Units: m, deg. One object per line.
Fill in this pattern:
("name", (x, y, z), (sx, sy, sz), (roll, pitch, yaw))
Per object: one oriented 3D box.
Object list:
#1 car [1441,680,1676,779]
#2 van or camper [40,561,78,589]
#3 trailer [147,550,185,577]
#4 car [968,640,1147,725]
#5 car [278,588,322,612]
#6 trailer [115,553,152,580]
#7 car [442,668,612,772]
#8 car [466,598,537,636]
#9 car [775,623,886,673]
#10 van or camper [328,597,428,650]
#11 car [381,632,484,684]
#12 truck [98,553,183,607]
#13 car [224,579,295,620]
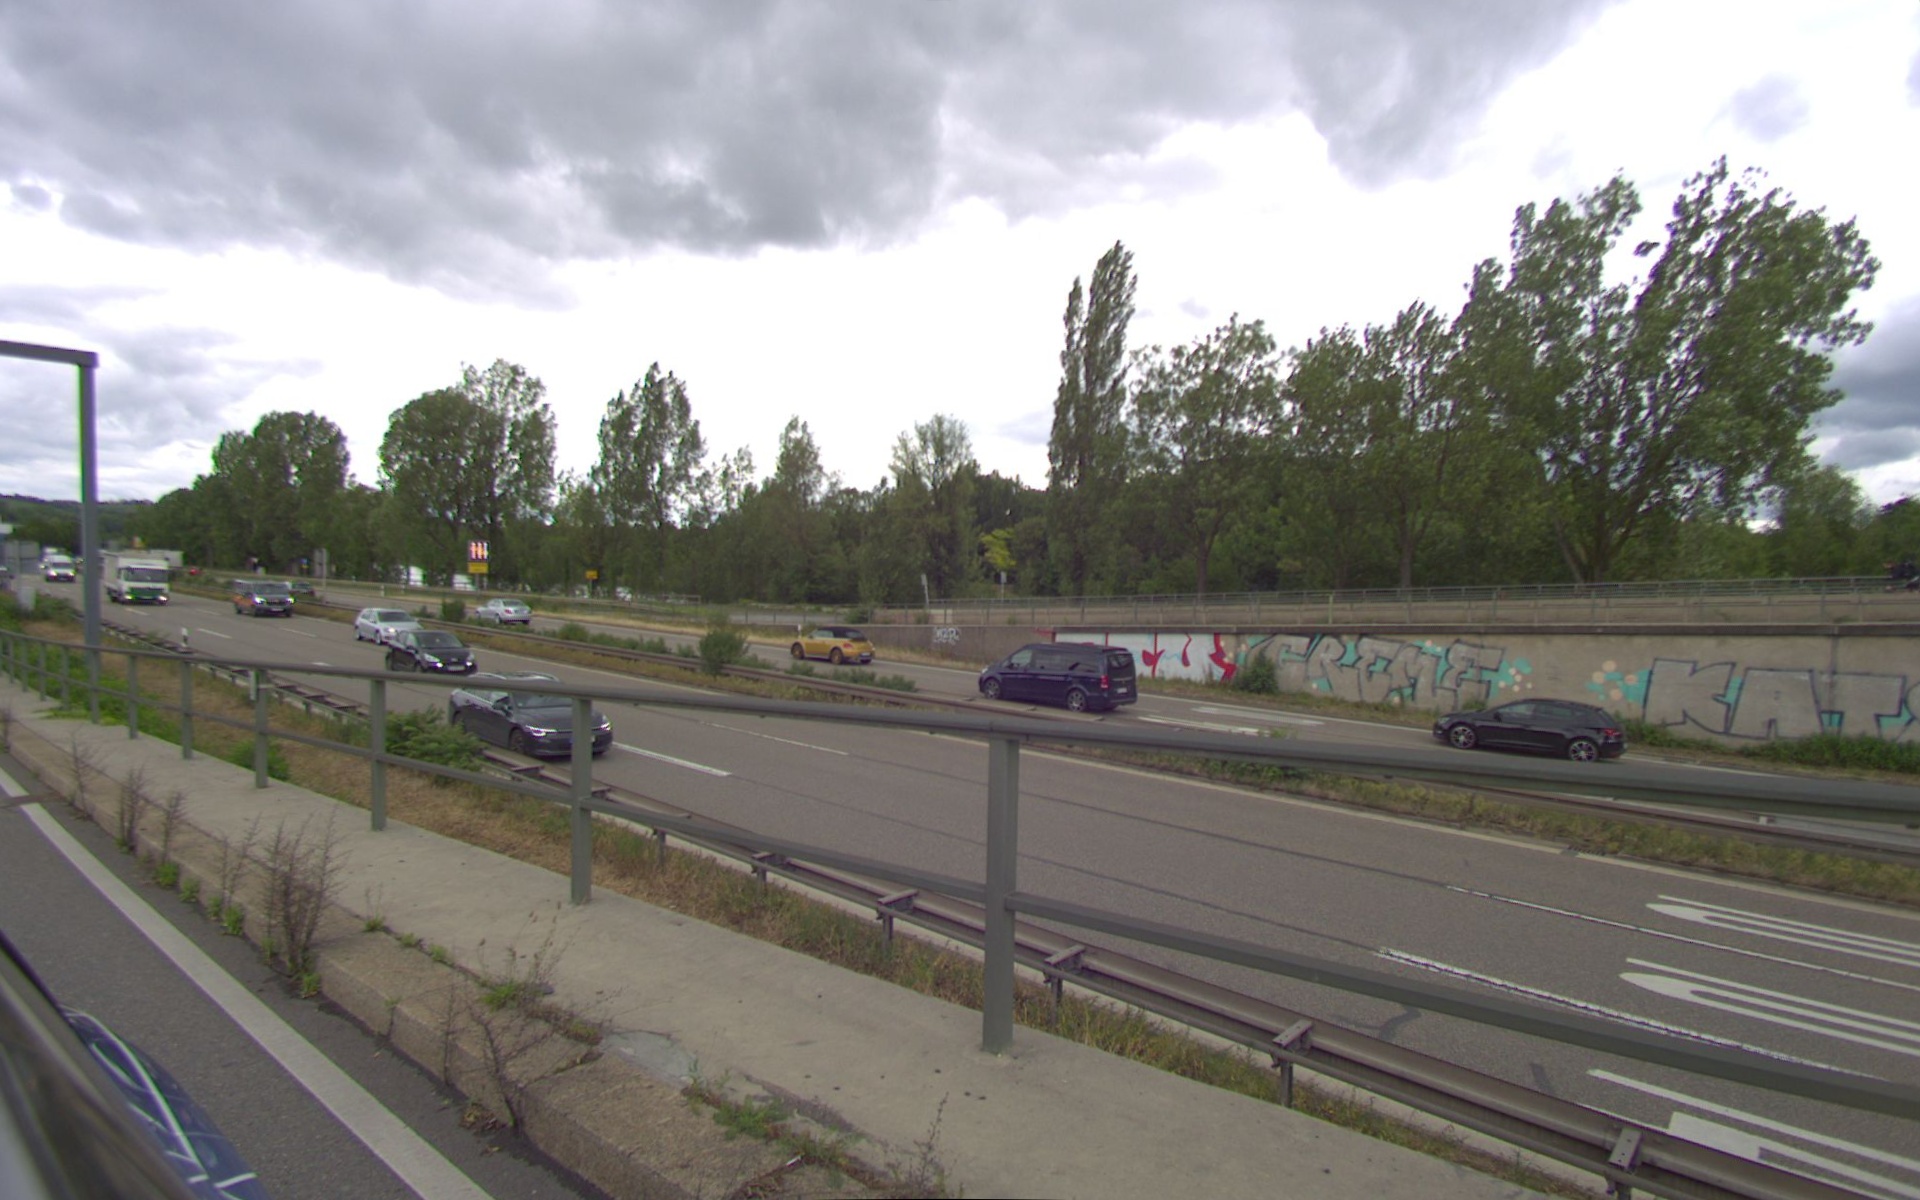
("car", (14.723, 3.091, 25.032), (4.701, 1.705, 1.973), (3, 1, 40))
("van or camper", (-90.789, -2.502, 101.930), (6.328, 2.623, 2.181), (3, 3, 42))
("trailer", (-123.264, -5.665, 157.098), (13.518, 3.978, 2.759), (3, 3, 44))
("car", (2.882, 2.394, 30.732), (5.114, 2.003, 2.070), (3, 1, 42))
("car", (-49.708, -0.002, 76.182), (4.002, 1.741, 1.971), (2, 1, 44))
("trailer", (-154.973, -6.304, 189.591), (14.784, 4.708, 3.426), (2, 2, 43))
("car", (-8.742, 2.278, 20.231), (1.911, 1.512, 4.310), (2, 0, -41))
("car", (-26.385, 0.941, 58.167), (4.703, 1.704, 1.972), (7, 4, 41))
("car", (-5.503, 1.974, 42.775), (4.701, 1.732, 1.973), (3, 1, 41))
("van or camper", (-25.621, 0.970, 44.436), (6.345, 1.882, 1.862), (3, 3, 41))
("car", (-16.670, 1.778, 31.924), (3.648, 1.337, 1.705), (3, 1, 42))
("truck", (-52.922, -1.348, 65.311), (7.566, 3.182, 3.000), (3, 1, 41))
("car", (-40.052, -0.058, 57.787), (5.337, 2.028, 2.072), (4, 2, 41))
